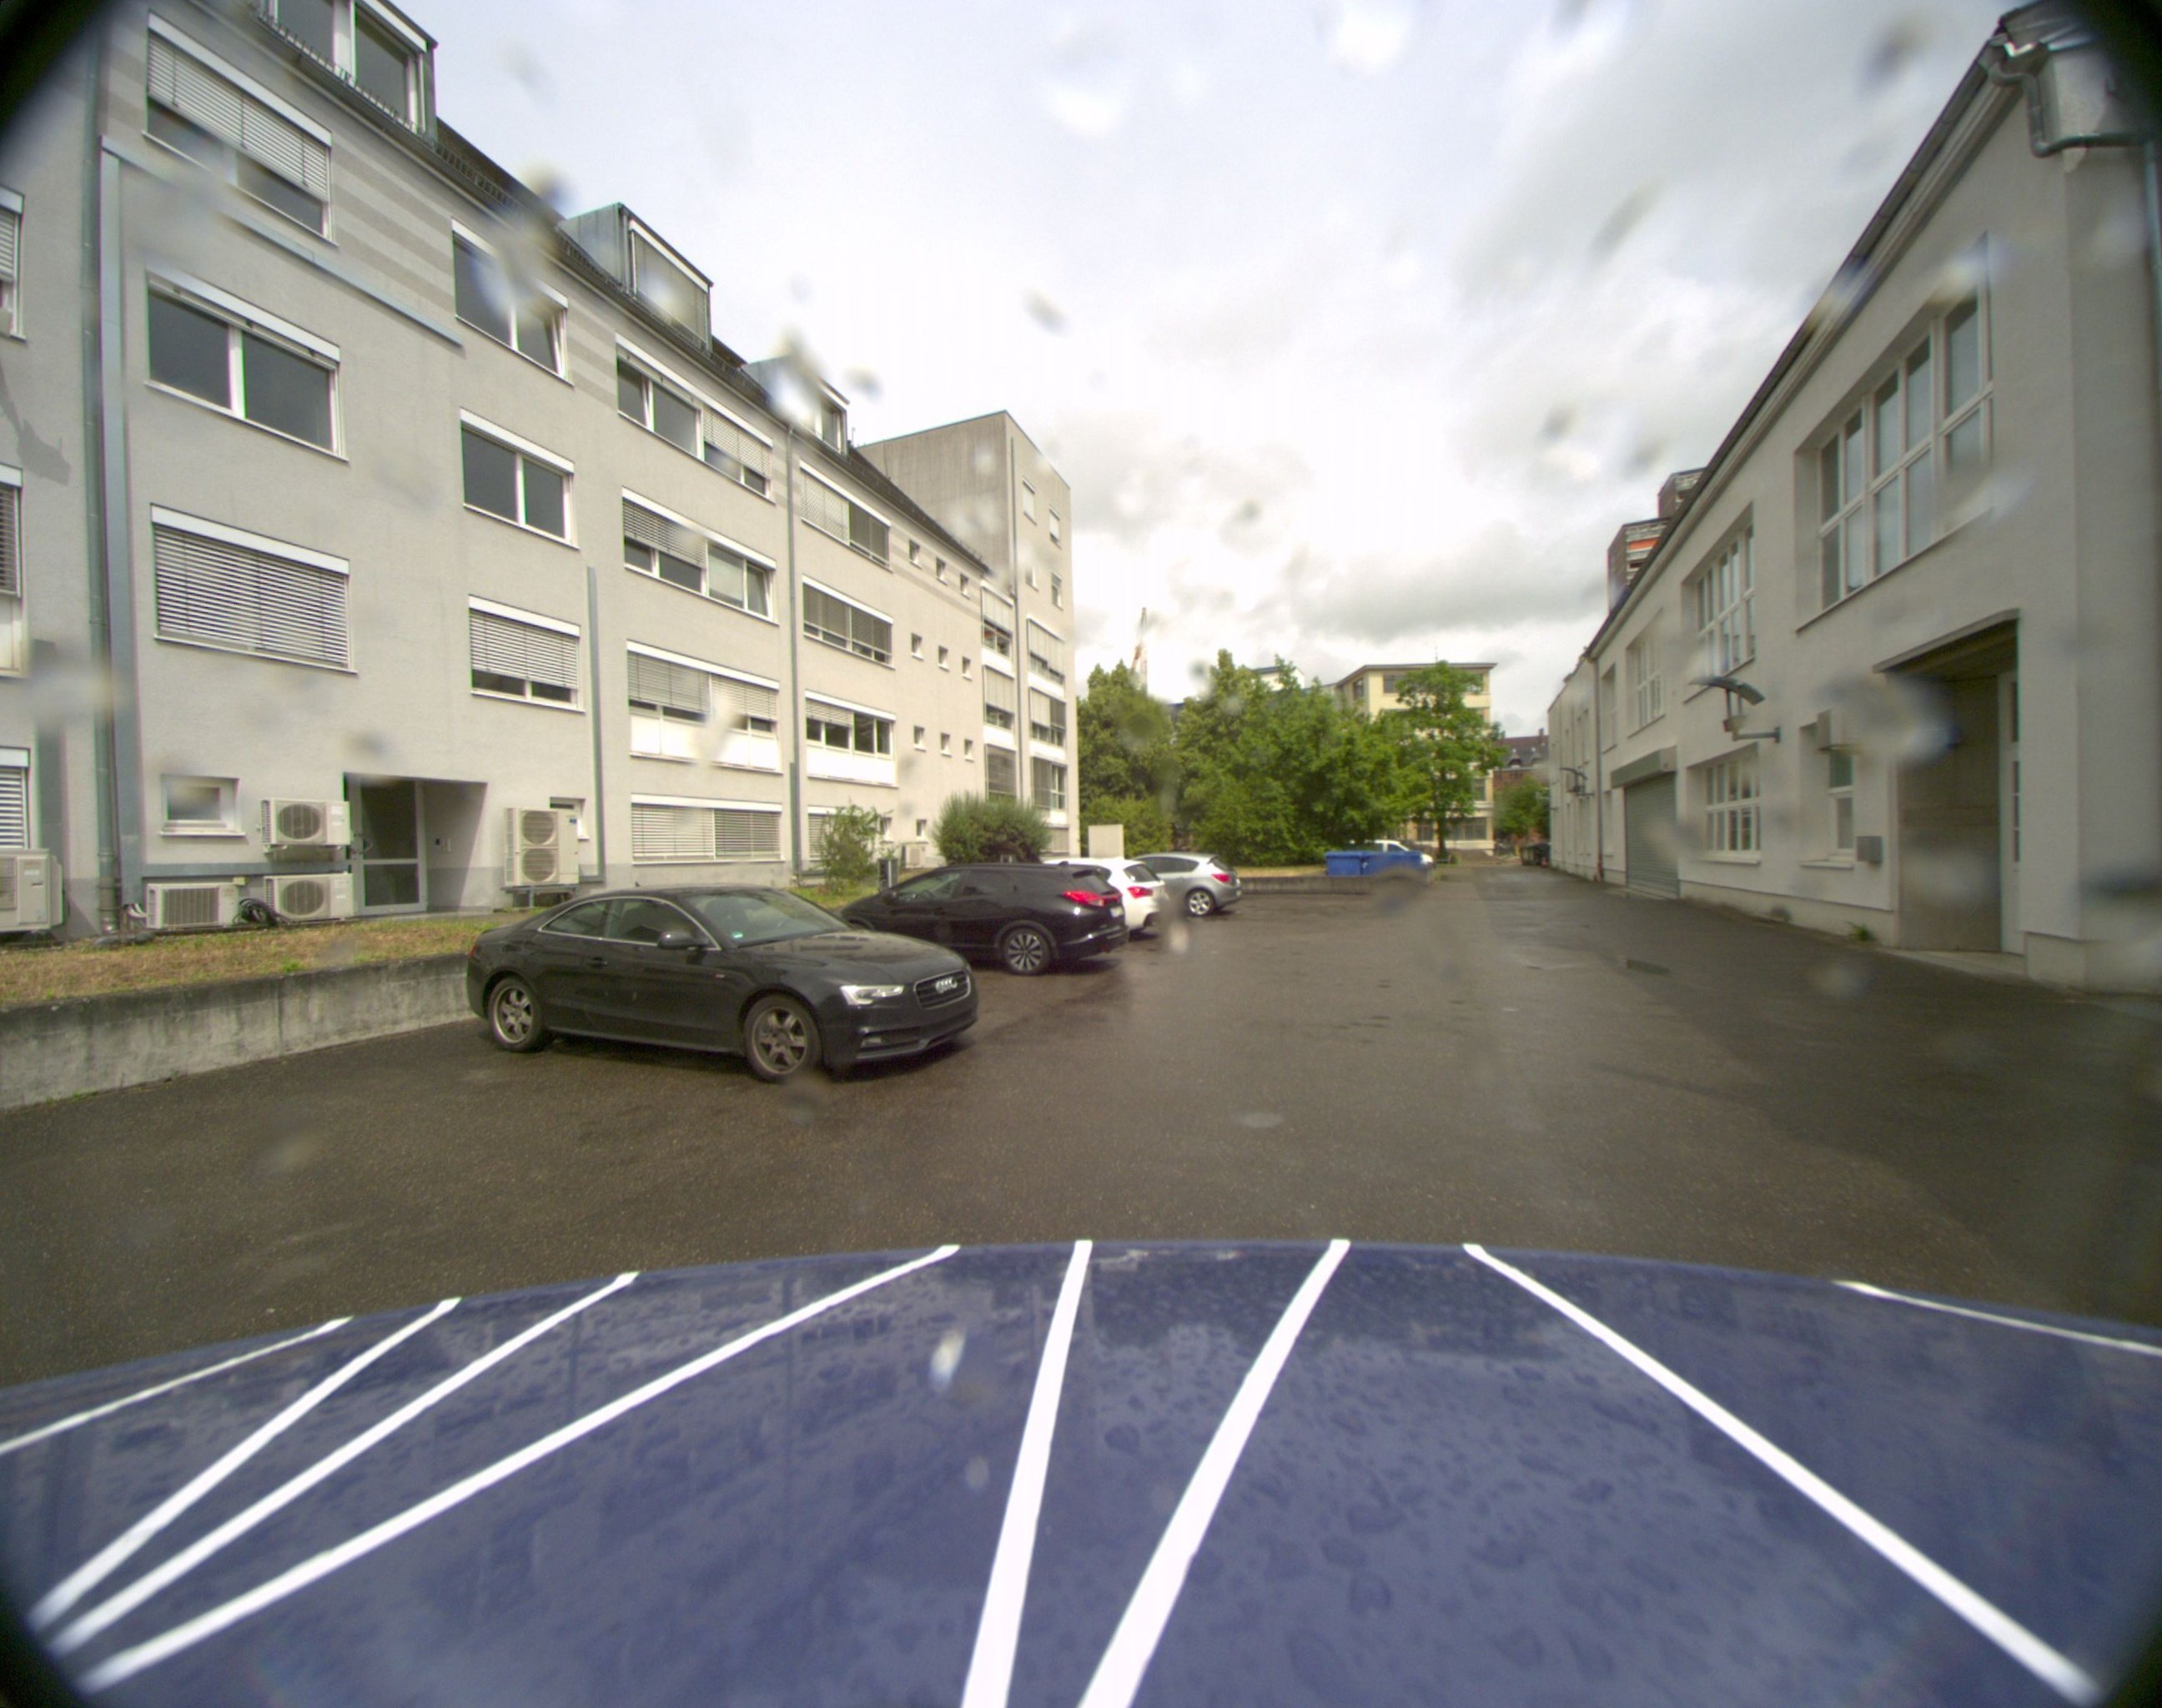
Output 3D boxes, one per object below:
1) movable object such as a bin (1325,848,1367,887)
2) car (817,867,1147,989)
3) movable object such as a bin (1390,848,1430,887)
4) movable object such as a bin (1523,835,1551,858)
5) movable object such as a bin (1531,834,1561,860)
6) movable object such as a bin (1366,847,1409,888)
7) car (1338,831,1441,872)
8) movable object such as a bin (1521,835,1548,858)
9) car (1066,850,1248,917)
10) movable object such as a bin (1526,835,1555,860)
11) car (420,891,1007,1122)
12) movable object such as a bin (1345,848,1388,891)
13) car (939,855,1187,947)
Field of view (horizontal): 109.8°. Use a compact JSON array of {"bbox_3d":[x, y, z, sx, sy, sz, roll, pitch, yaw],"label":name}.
[{"bbox_3d":[9.093,0.466,26.070,1.230,1.310,1.057,-1,0,26],"label":"movable object such as a bin"},{"bbox_3d":[-1.357,0.947,10.789,4.174,1.393,1.942,-1,1,20],"label":"car"},{"bbox_3d":[11.624,0.462,26.847,1.175,1.309,1.057,-3,-1,26],"label":"movable object such as a bin"},{"bbox_3d":[30.143,-0.480,50.242,1.361,1.462,1.467,-3,-1,26],"label":"movable object such as a bin"},{"bbox_3d":[28.214,-0.419,46.112,1.361,1.462,1.368,-3,-1,26],"label":"movable object such as a bin"},{"bbox_3d":[10.305,0.451,25.515,1.230,1.310,1.057,-1,0,26],"label":"movable object such as a bin"},{"bbox_3d":[16.839,-0.132,41.528,4.940,2.002,2.003,-2,0,30],"label":"car"},{"bbox_3d":[30.815,-0.475,51.690,1.410,1.462,1.563,-3,-1,26],"label":"movable object such as a bin"},{"bbox_3d":[1.858,0.689,18.587,4.083,1.450,1.670,-1,2,23],"label":"car"},{"bbox_3d":[28.857,-0.401,47.736,1.361,1.462,1.368,-3,-1,26],"label":"movable object such as a bin"},{"bbox_3d":[-3.018,1.041,6.351,4.358,1.341,1.863,-1,0,20],"label":"car"},{"bbox_3d":[10.218,0.558,27.205,1.276,1.474,1.103,-3,-1,26],"label":"movable object such as a bin"},{"bbox_3d":[-0.317,0.791,13.875,4.101,1.447,1.836,-1,1,22],"label":"car"}]
